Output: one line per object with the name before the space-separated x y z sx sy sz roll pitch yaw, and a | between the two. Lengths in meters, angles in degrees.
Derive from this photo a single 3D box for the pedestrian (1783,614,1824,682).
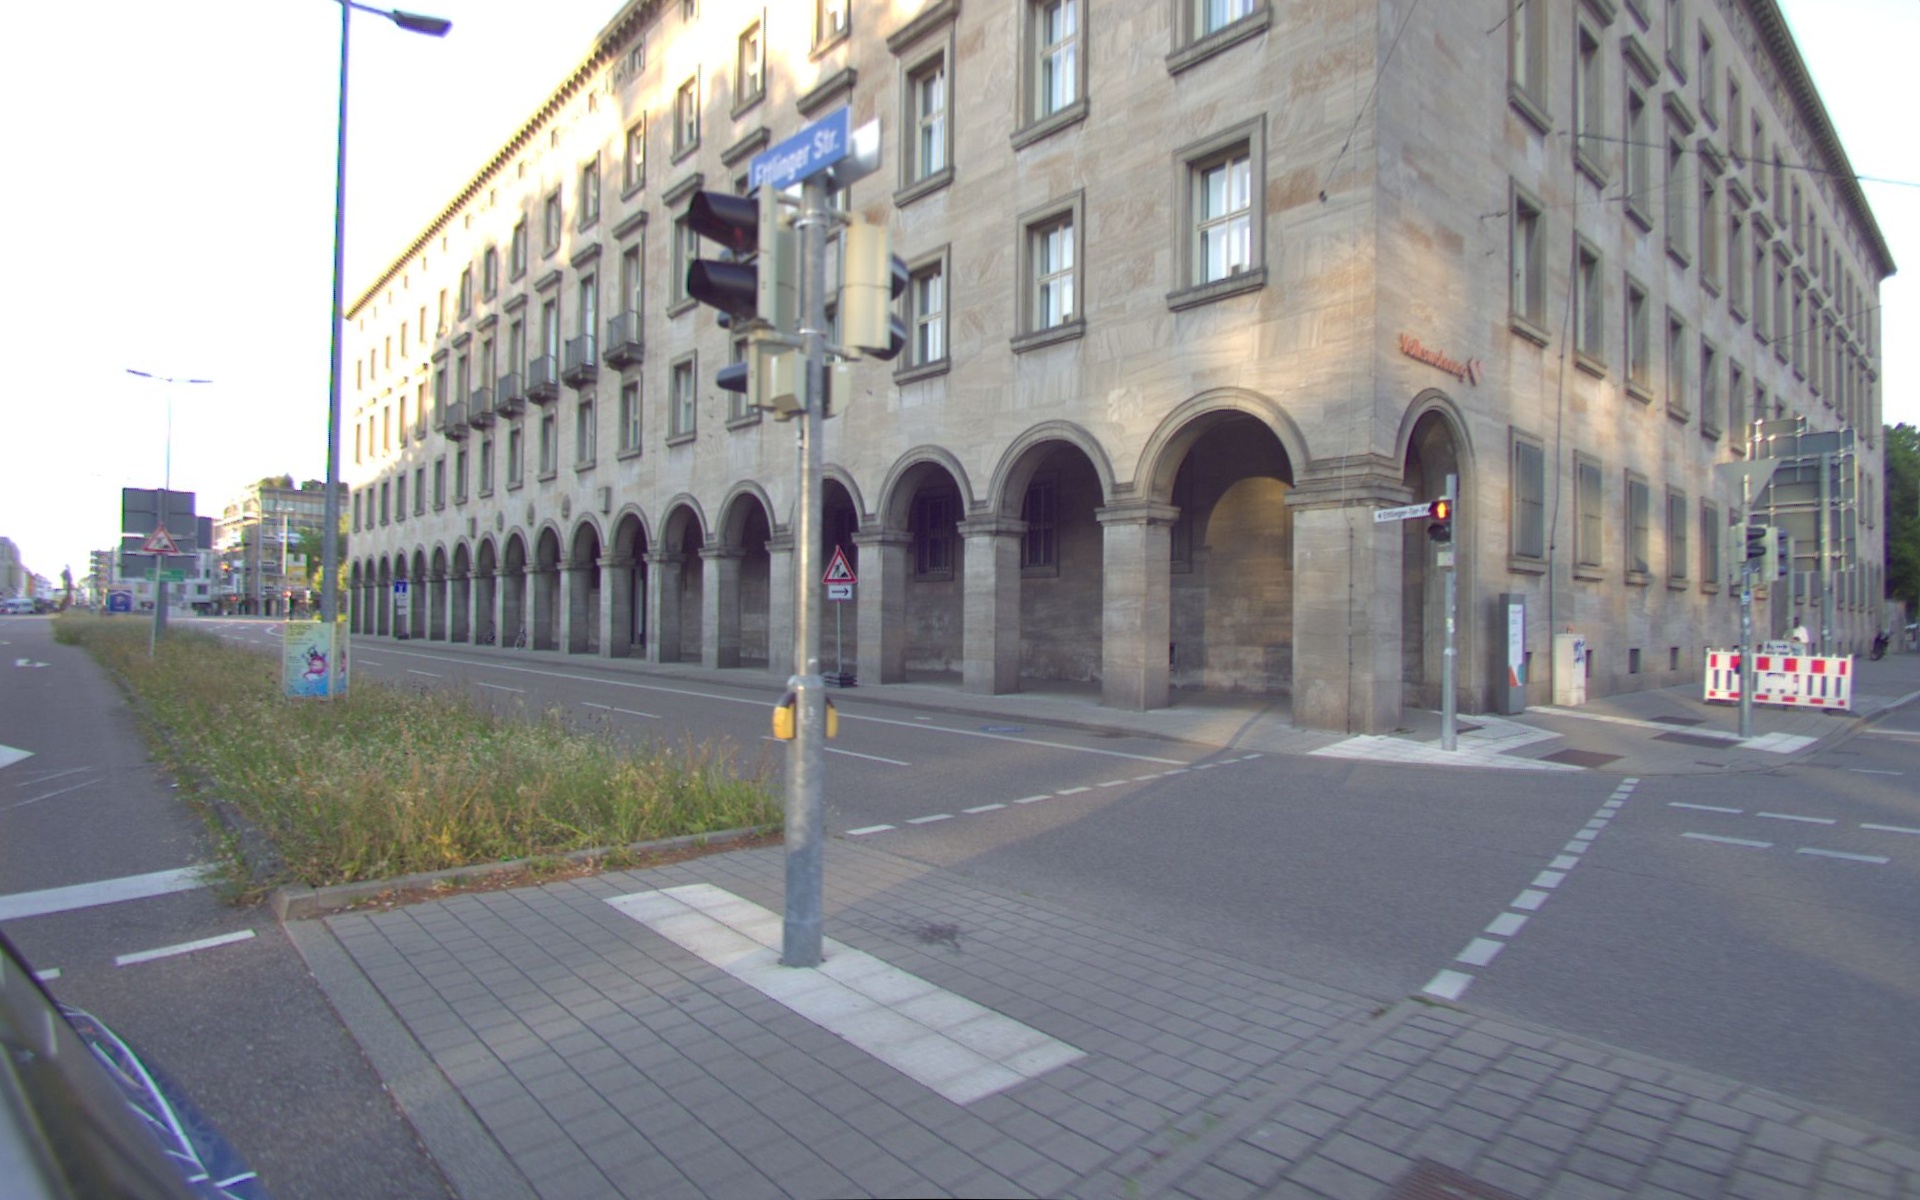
pedestrian | 21.707 1.229 26.051 0.636 1.723 0.699 2 -2 -39

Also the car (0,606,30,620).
car | -155.859 2.169 166.856 1.966 2.028 4.011 -4 0 -16

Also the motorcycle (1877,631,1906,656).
motorcycle | 41.393 1.941 44.965 2.613 1.083 0.701 2 -3 -42
